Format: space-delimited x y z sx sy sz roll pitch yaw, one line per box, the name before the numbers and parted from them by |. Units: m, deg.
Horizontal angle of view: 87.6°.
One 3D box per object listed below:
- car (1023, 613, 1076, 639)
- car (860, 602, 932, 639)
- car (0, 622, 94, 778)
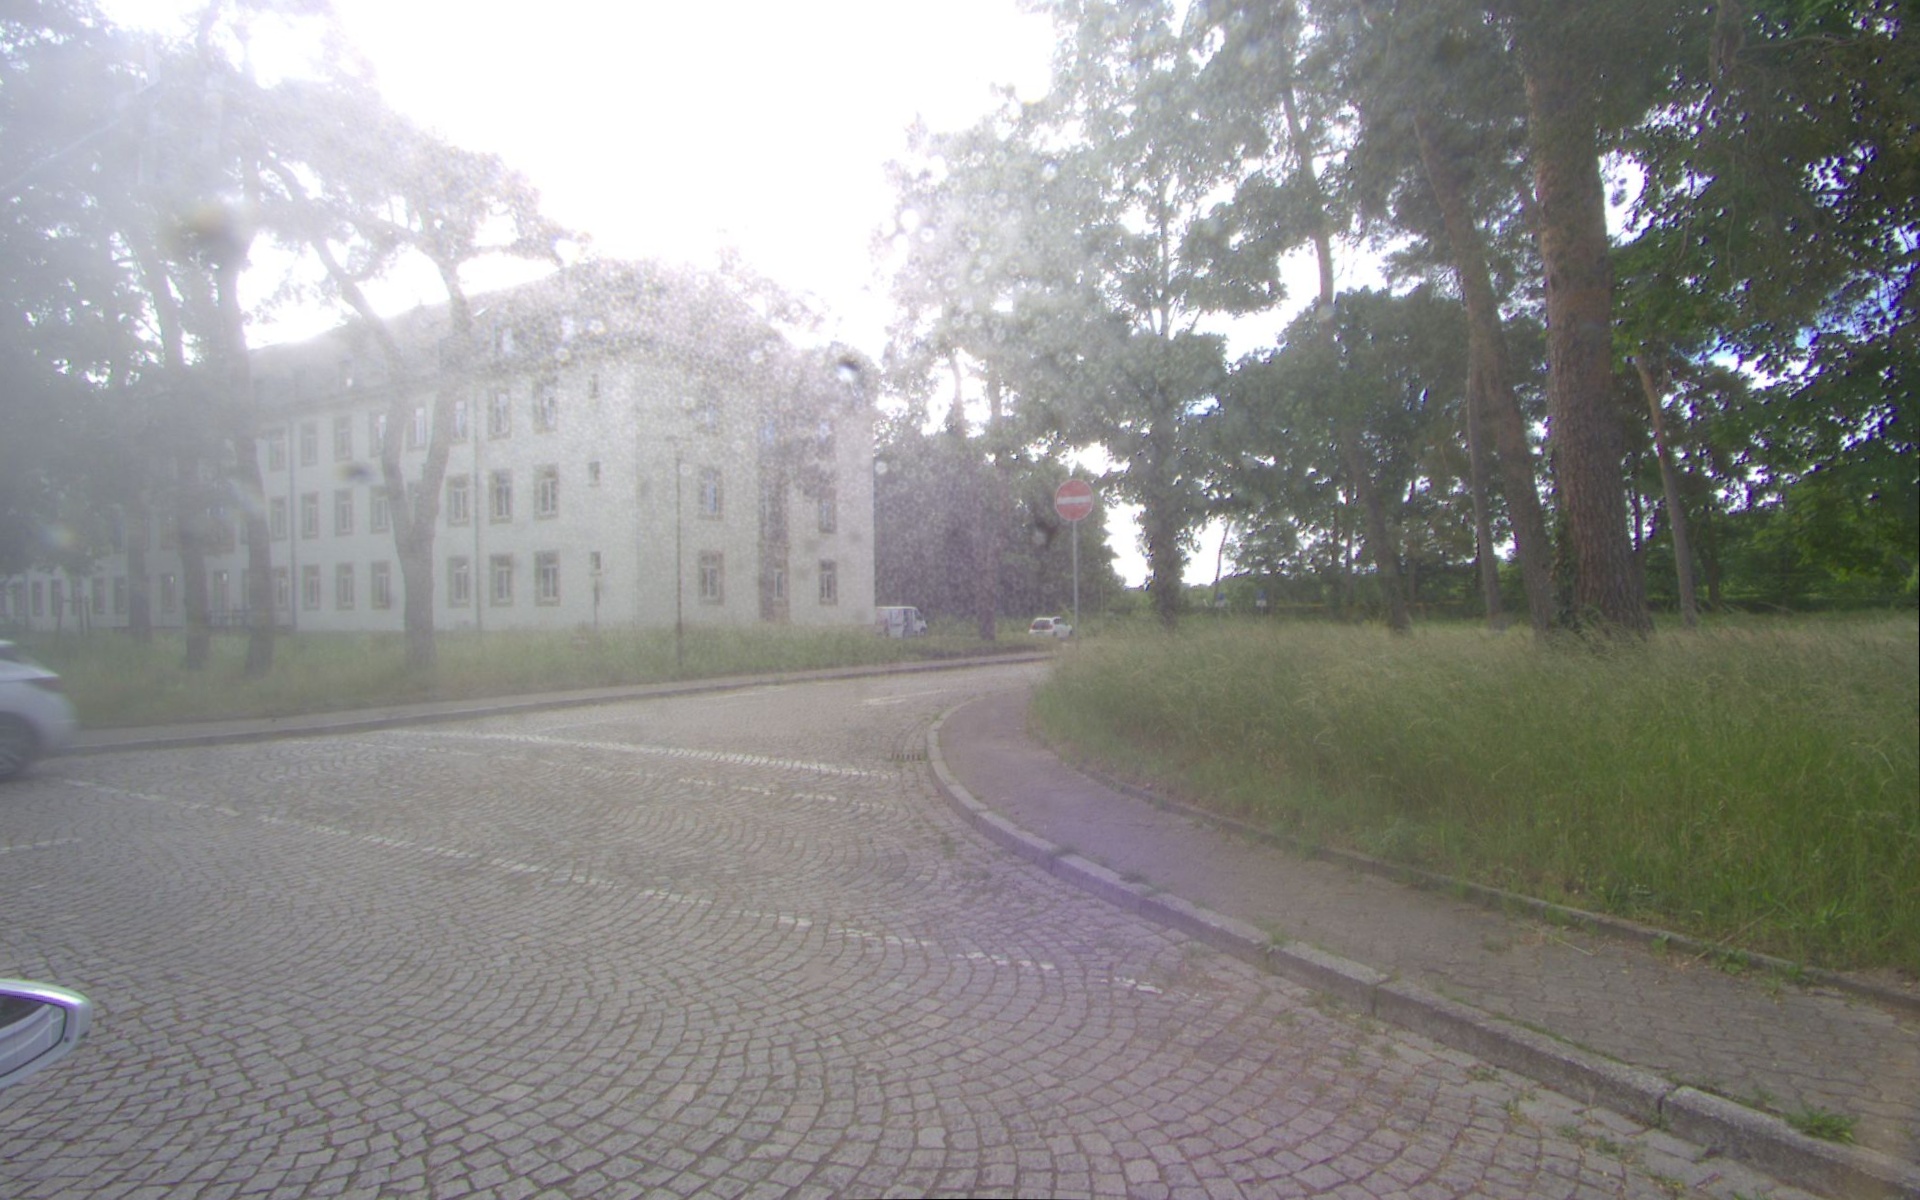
car | 5.458 1.546 60.835 1.970 1.527 3.477 -1 -1 30
car | -4.147 1.294 65.429 2.180 2.318 5.173 -1 -1 30
car | -10.305 0.896 8.394 1.859 1.434 4.240 -1 -2 29
